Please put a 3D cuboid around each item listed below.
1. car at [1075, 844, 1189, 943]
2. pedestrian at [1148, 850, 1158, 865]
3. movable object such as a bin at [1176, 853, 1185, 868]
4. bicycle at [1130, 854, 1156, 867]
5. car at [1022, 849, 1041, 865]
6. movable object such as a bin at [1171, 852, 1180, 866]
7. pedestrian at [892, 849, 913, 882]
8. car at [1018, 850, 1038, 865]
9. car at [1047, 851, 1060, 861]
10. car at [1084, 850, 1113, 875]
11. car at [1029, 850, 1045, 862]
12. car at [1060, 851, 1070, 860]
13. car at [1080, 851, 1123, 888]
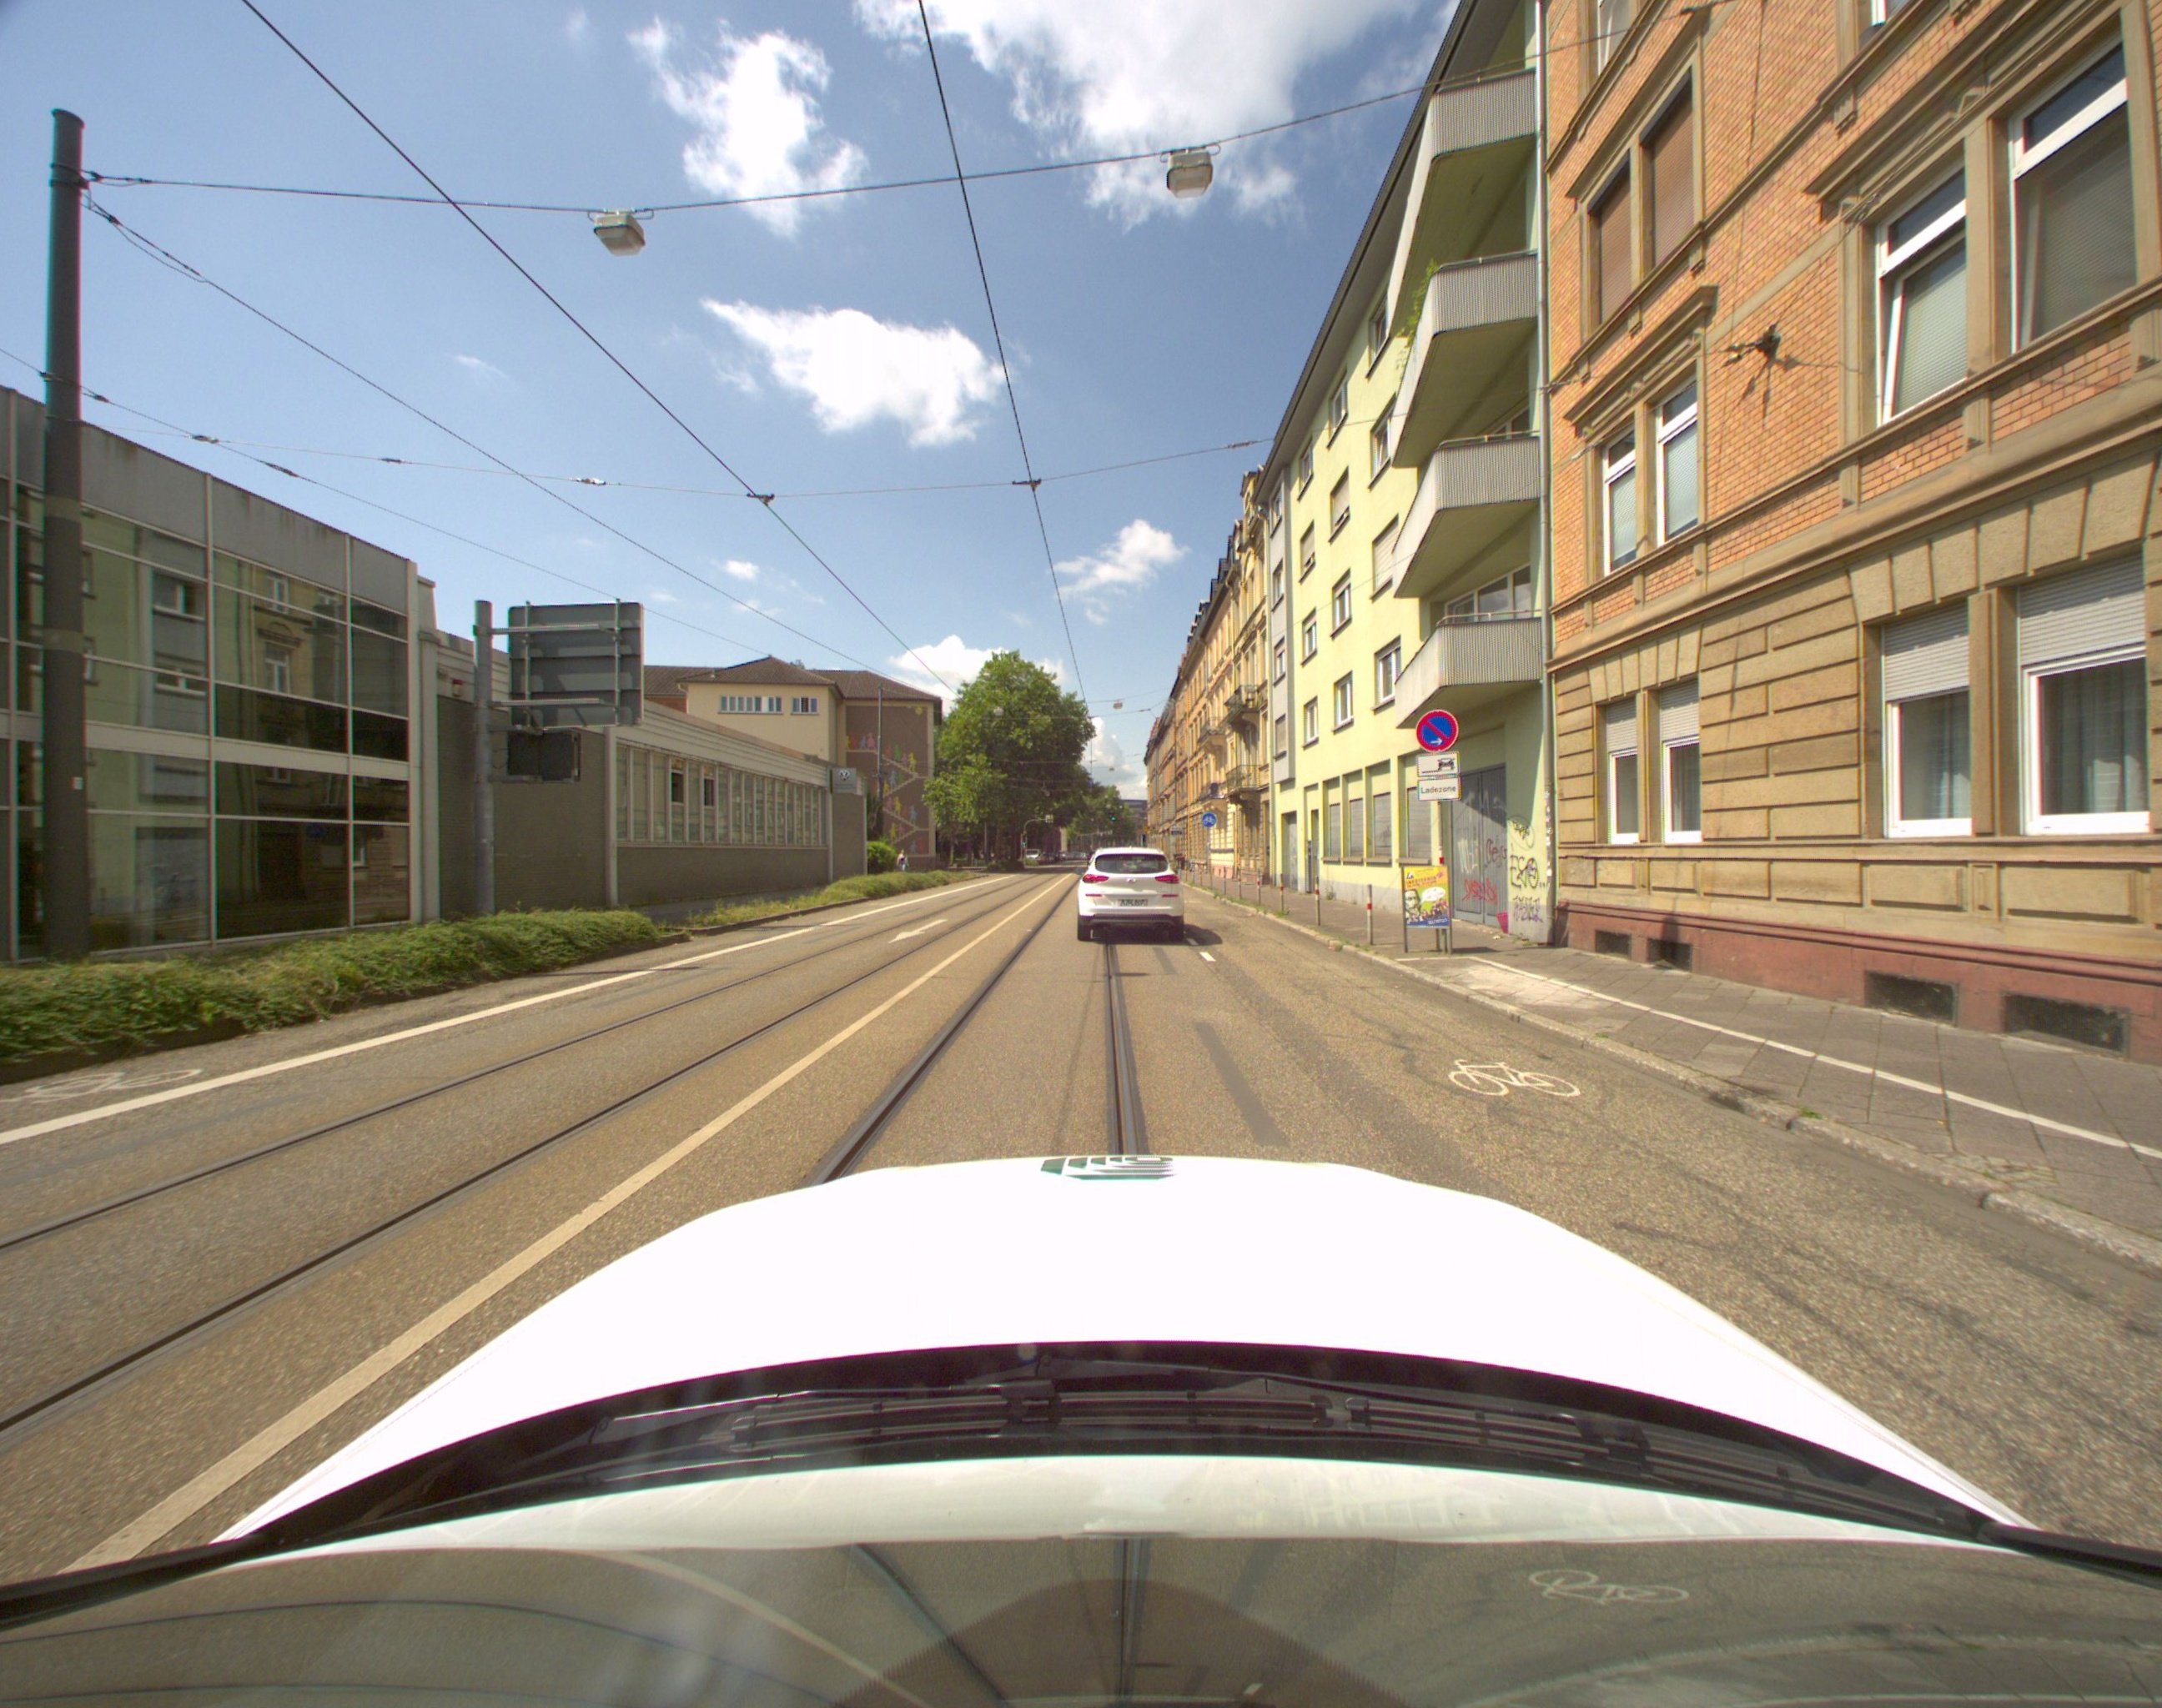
[{"bbox_3d":[0.828,0.645,15.575,1.847,1.634,4.179,0,0,-1],"label":"car"},{"bbox_3d":[7.431,0.342,84.286,0.934,1.572,1.050,0,0,1],"label":"pedestrian"},{"bbox_3d":[7.869,0.511,64.484,0.610,1.143,0.639,0,0,1],"label":"movable object such as a bin"},{"bbox_3d":[5.517,0.585,72.917,2.260,1.144,0.584,0,0,-1],"label":"bicycle"},{"bbox_3d":[-6.102,0.320,100.584,1.943,1.895,4.566,0,0,1],"label":"car"},{"bbox_3d":[7.643,0.420,65.919,0.610,1.143,0.639,0,0,1],"label":"movable object such as a bin"},{"bbox_3d":[-10.345,0.652,47.236,0.877,1.865,1.081,-2,0,2],"label":"pedestrian"},{"bbox_3d":[-6.086,0.365,94.562,1.943,1.632,4.577,0,0,1],"label":"car"},{"bbox_3d":[-4.498,0.258,133.508,1.944,1.632,3.998,0,0,-1],"label":"car"},{"bbox_3d":[1.158,0.531,53.446,1.808,1.524,3.957,-1,0,2],"label":"car"},{"bbox_3d":[-5.795,0.228,107.799,1.944,1.632,3.998,0,0,-1],"label":"car"},{"bbox_3d":[-3.201,0.303,164.753,1.944,1.632,3.998,0,0,-1],"label":"car"},{"bbox_3d":[0.961,0.633,36.561,1.807,1.524,4.088,-1,0,2],"label":"car"}]
